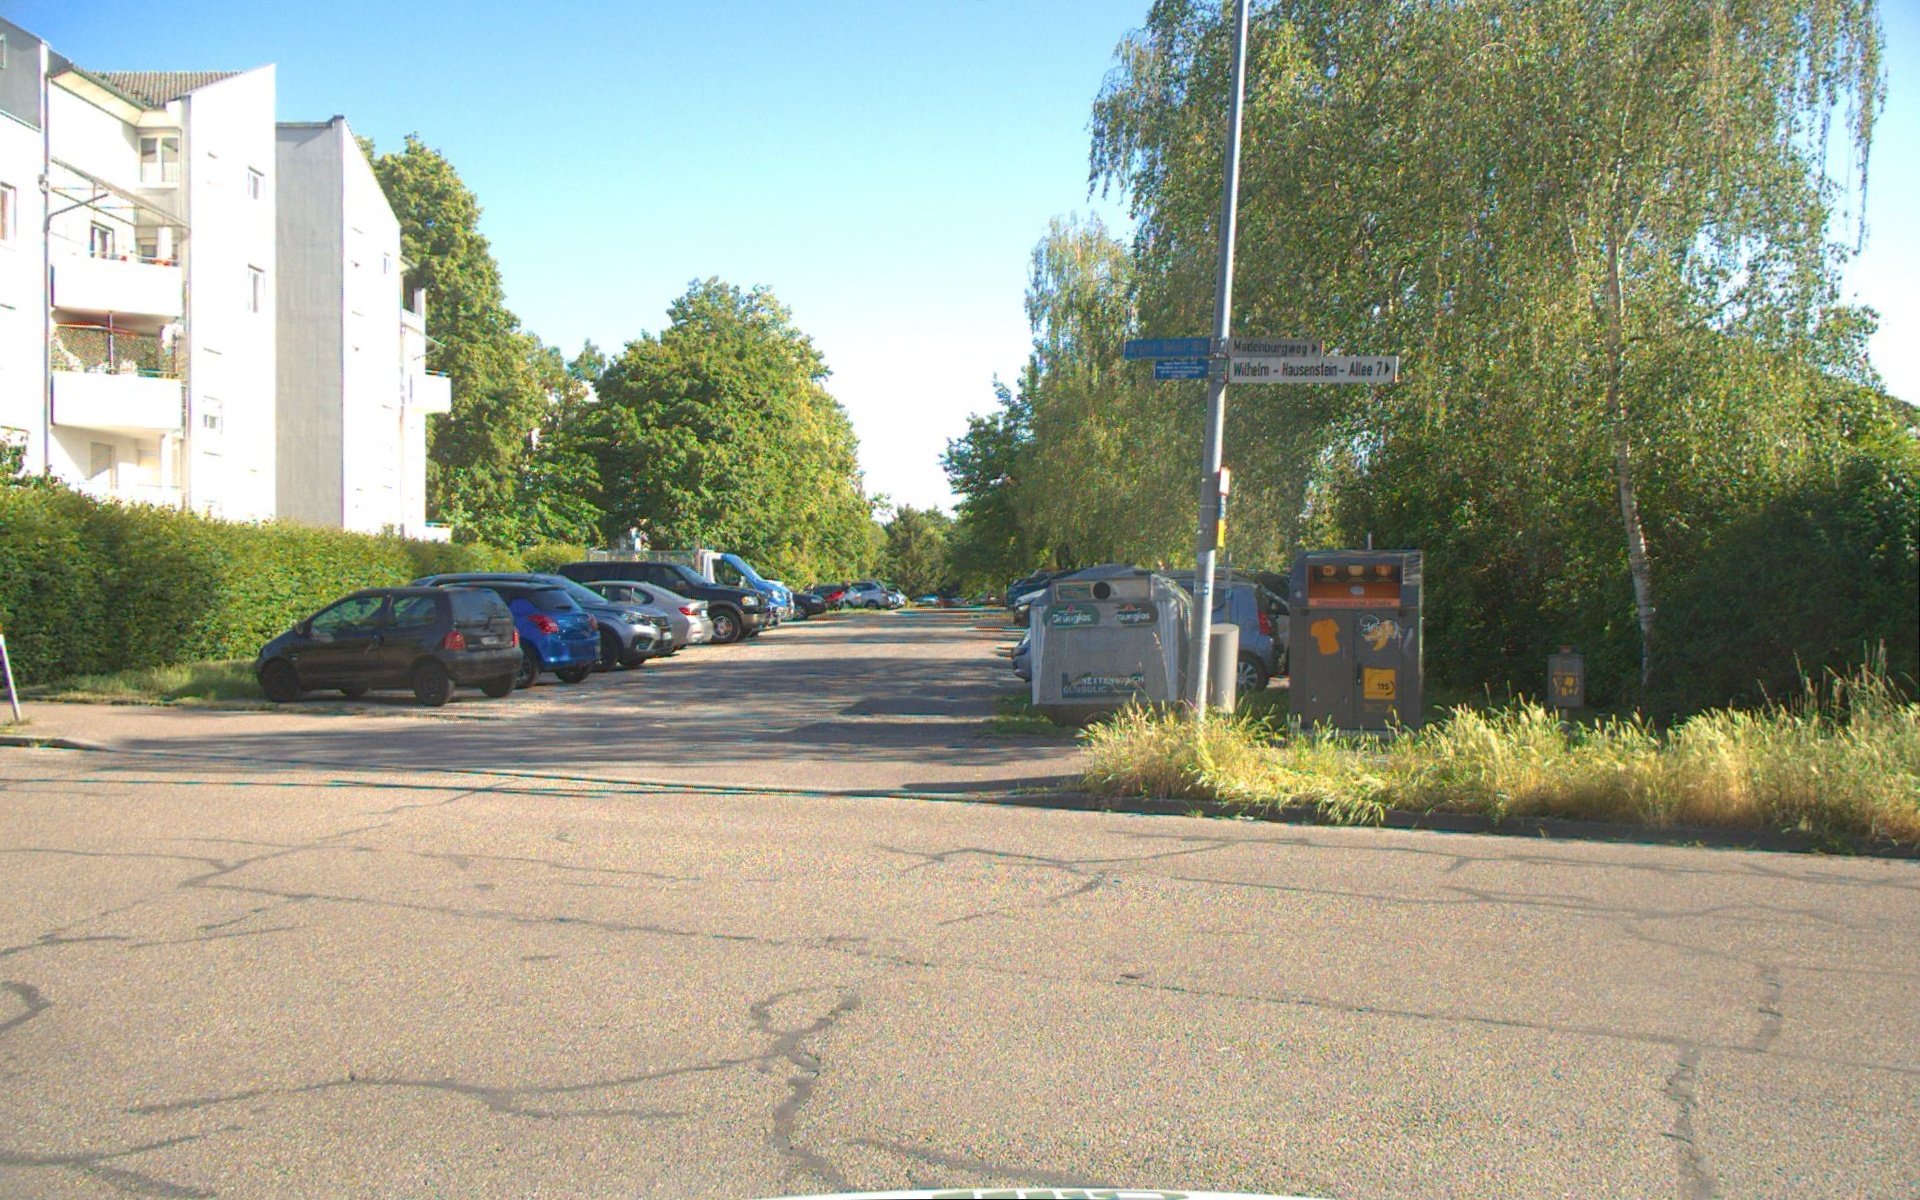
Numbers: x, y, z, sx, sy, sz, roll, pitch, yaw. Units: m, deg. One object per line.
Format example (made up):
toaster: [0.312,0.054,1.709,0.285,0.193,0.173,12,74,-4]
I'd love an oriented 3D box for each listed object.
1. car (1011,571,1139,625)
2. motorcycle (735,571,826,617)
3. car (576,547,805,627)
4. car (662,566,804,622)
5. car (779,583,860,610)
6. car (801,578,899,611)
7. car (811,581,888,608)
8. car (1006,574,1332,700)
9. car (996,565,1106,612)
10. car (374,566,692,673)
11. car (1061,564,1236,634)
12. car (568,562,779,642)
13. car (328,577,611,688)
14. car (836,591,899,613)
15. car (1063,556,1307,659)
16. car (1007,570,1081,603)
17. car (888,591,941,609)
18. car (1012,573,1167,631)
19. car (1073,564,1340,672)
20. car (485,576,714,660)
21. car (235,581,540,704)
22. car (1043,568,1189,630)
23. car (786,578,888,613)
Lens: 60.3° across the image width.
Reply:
car: [3.599,-0.067,51.684,3.903,1.613,1.799,1,0,5]
motorcycle: [-6.446,-0.208,59.475,3.124,1.624,0.923,0,0,3]
car: [-7.577,-0.378,47.038,6.128,2.184,2.411,0,0,-1]
car: [-7.568,-0.207,55.323,4.428,1.802,1.848,0,0,2]
car: [-6.997,-0.177,82.712,3.858,1.357,1.847,0,1,1]
car: [-4.515,-0.233,68.287,3.858,1.357,1.847,0,1,1]
car: [-5.717,-0.288,85.866,3.858,1.357,1.847,0,1,1]
car: [2.712,0.434,21.270,3.966,1.464,1.636,1,0,15]
car: [3.335,-0.411,60.100,3.903,1.613,1.799,1,0,5]
car: [-7.201,0.317,28.138,4.886,1.683,1.786,-1,1,7]
car: [4.370,-0.023,38.369,3.902,1.529,1.950,1,0,7]
car: [-6.565,0.037,38.116,4.426,1.802,1.848,0,0,7]
car: [-7.137,0.461,24.172,3.601,1.522,1.652,-1,1,15]
car: [-5.889,0.134,105.721,3.858,1.357,1.847,0,1,1]
car: [3.977,0.111,29.636,4.023,1.735,1.789,0,2,-5]
car: [4.515,-0.710,88.646,3.903,1.738,1.799,1,0,5]
car: [-3.139,-0.013,114.939,3.569,1.234,1.847,0,1,1]
car: [3.336,0.051,42.626,3.903,1.425,1.799,1,0,5]
car: [3.923,0.262,26.711,3.972,1.631,1.790,1,2,-4]
car: [-6.936,0.338,32.091,4.059,1.480,1.619,-1,0,-1]
car: [-7.471,0.506,21.659,3.448,1.492,1.705,0,1,18]
car: [4.283,-0.027,45.619,3.903,1.613,1.799,1,0,5]
car: [-4.822,-0.175,65.143,3.858,1.357,1.847,0,1,1]
